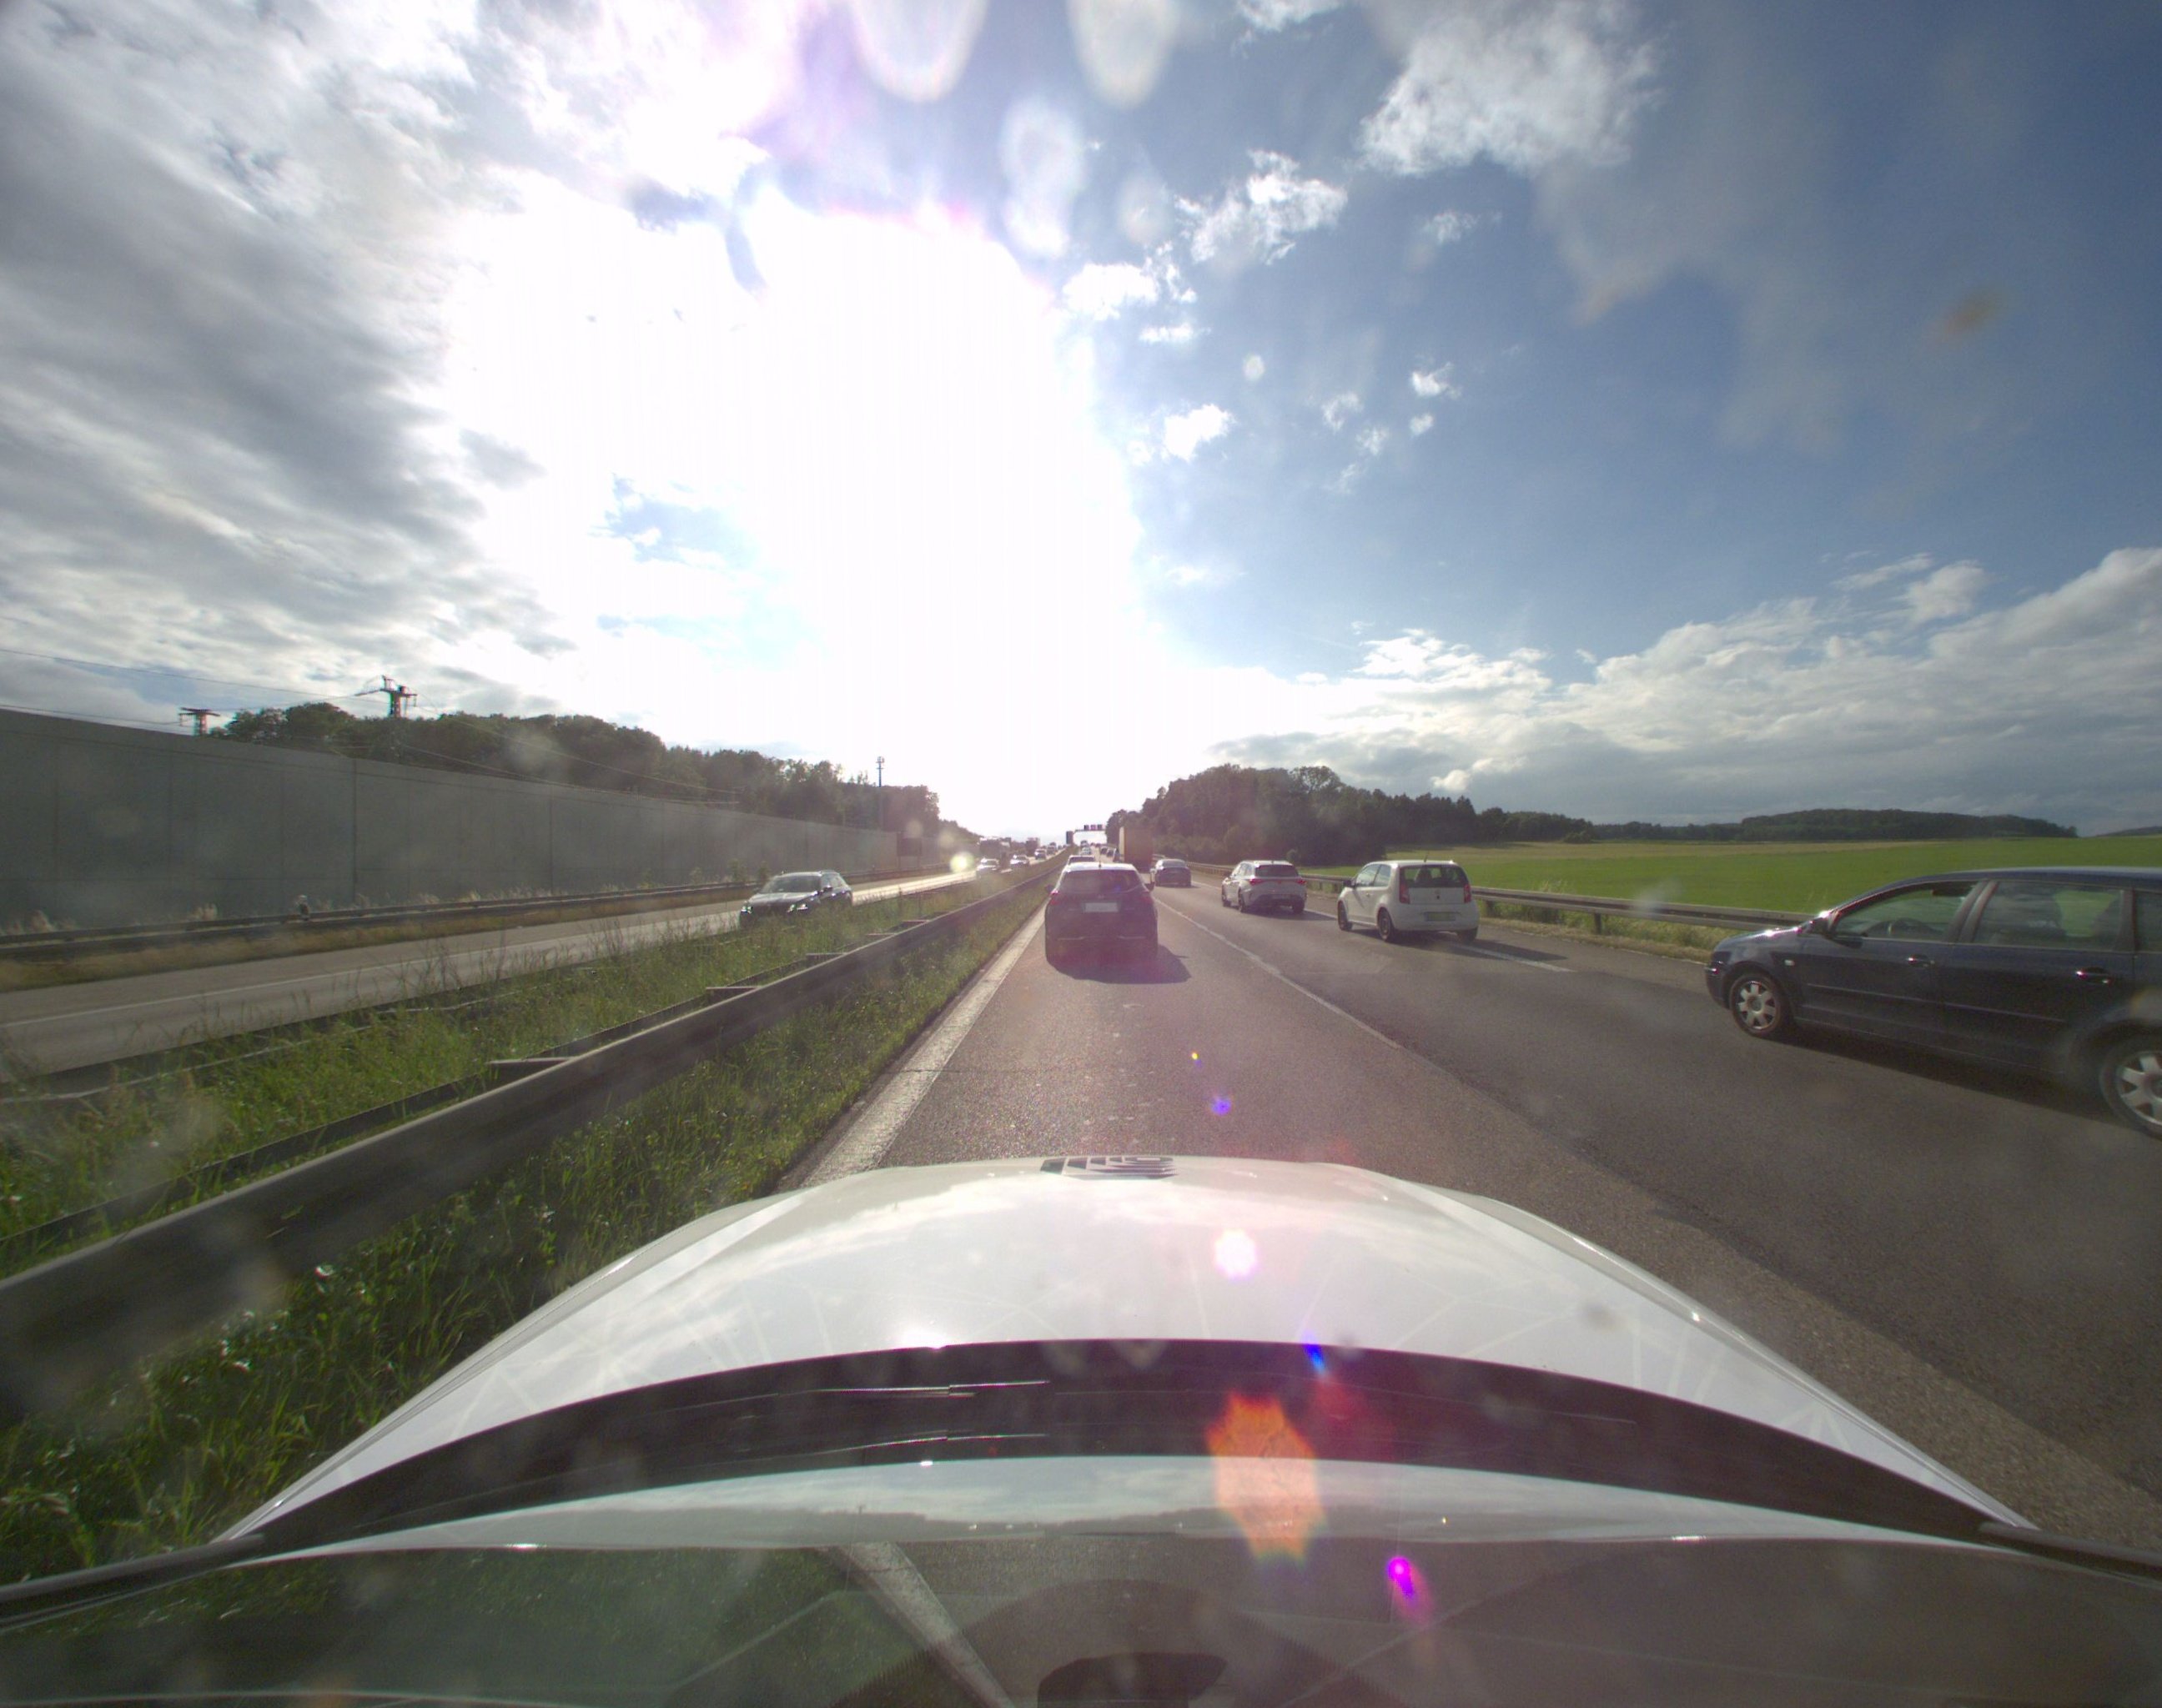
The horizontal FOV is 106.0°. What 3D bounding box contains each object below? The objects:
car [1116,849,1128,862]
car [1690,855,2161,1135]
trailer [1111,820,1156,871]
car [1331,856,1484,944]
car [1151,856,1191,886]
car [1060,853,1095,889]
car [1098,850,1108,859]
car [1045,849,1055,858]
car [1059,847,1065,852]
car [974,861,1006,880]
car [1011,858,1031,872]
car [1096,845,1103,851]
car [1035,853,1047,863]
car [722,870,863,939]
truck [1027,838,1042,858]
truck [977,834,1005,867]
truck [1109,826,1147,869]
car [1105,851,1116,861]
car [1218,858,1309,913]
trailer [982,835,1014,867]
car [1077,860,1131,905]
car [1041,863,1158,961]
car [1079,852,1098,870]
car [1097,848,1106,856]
[{"bbox_3d":[5.840,0.187,116.503,1.661,1.755,3.328,0,-1,2],"label":"car"},{"bbox_3d":[6.410,0.743,5.498,1.705,1.446,3.771,0,-1,-2],"label":"car"},{"bbox_3d":[4.875,-0.665,78.581,3.537,4.457,12.719,0,-1,0],"label":"trailer"},{"bbox_3d":[6.127,0.787,15.655,1.544,1.495,3.376,0,0,-1],"label":"car"},{"bbox_3d":[4.696,0.893,42.873,1.741,1.475,4.148,0,-1,1],"label":"car"},{"bbox_3d":[-0.133,0.833,41.255,1.668,1.726,3.597,0,-1,1],"label":"car"},{"bbox_3d":[4.596,0.129,172.362,1.987,2.014,3.999,0,-1,0],"label":"car"},{"bbox_3d":[-6.841,-0.100,181.114,1.987,1.883,4.787,-3,-1,1],"label":"car"},{"bbox_3d":[-6.007,-1.365,257.006,1.896,1.464,4.183,0,-1,0],"label":"car"},{"bbox_3d":[-7.472,1.356,66.994,1.986,1.486,4.399,0,-1,1],"label":"car"},{"bbox_3d":[-6.873,1.244,93.588,1.797,1.516,4.691,0,-1,1],"label":"car"},{"bbox_3d":[5.856,-1.895,255.351,1.987,2.014,3.999,0,-1,0],"label":"car"},{"bbox_3d":[-7.206,0.685,146.569,1.853,1.834,4.281,0,-1,1],"label":"car"},{"bbox_3d":[-7.143,1.190,20.696,1.836,1.508,4.552,0,-1,2],"label":"car"},{"bbox_3d":[-10.161,-1.244,178.012,2.745,4.090,6.953,-1,-1,1],"label":"truck"},{"bbox_3d":[-10.960,-0.367,99.495,2.543,3.798,5.418,-2,-1,1],"label":"truck"},{"bbox_3d":[4.821,-0.602,85.211,3.571,4.380,6.686,0,-1,-1],"label":"truck"},{"bbox_3d":[5.595,0.397,154.553,1.987,2.014,3.999,0,-1,0],"label":"car"},{"bbox_3d":[5.147,0.853,23.509,1.616,1.446,4.144,0,-1,-1],"label":"car"},{"bbox_3d":[-10.721,-0.294,106.586,2.531,3.771,12.543,-2,-1,1],"label":"trailer"},{"bbox_3d":[0.757,0.906,27.084,1.668,1.367,3.597,0,-1,1],"label":"car"},{"bbox_3d":[0.327,0.877,13.599,1.703,1.426,3.379,0,-1,2],"label":"car"},{"bbox_3d":[0.778,0.777,89.339,1.987,2.014,3.999,0,-1,0],"label":"car"},{"bbox_3d":[5.131,-0.516,202.683,1.987,2.014,3.999,0,-1,0],"label":"car"}]
